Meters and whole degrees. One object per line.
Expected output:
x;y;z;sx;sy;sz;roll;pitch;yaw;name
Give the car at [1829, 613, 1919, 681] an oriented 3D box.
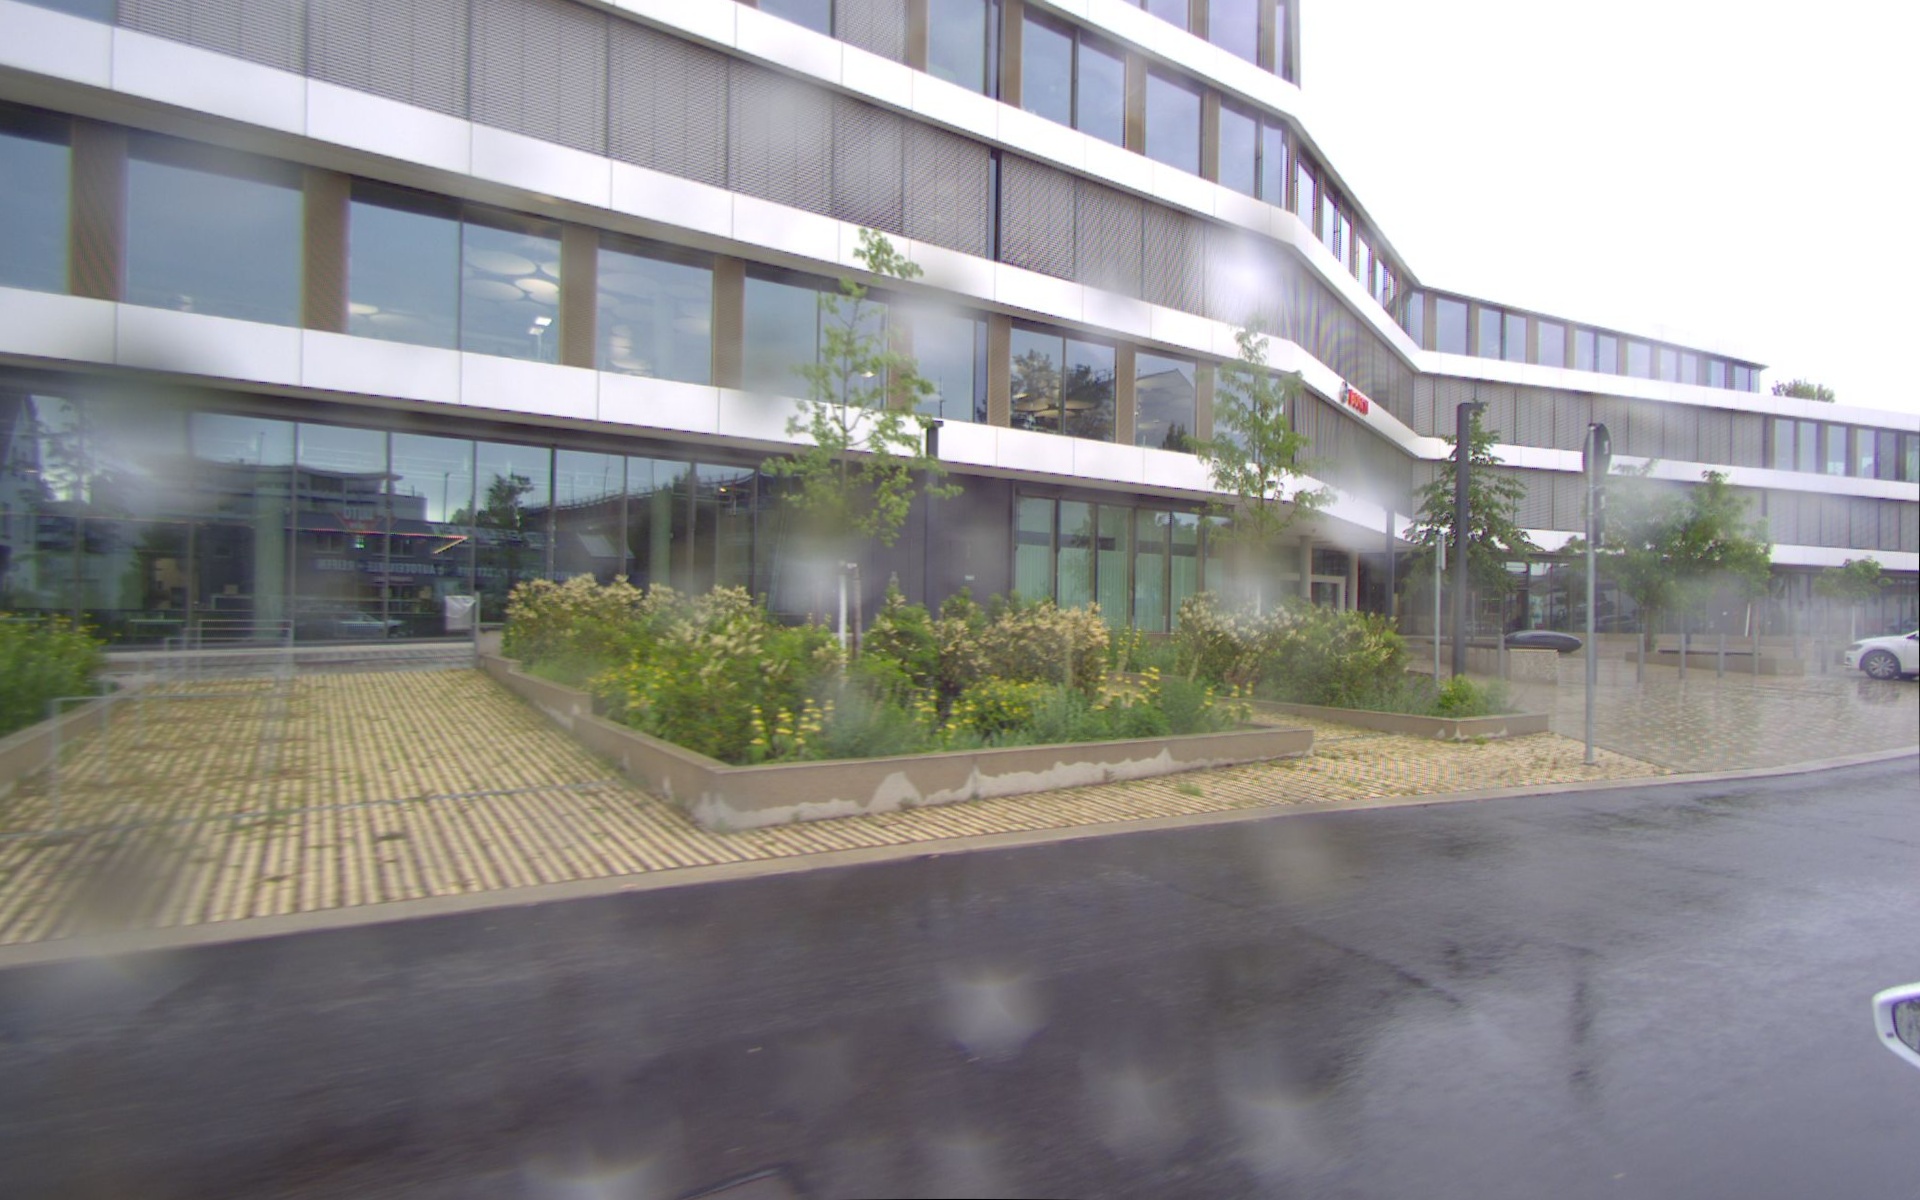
21.610;1.038;21.701;1.876;1.442;3.908;1;0;-31;car
